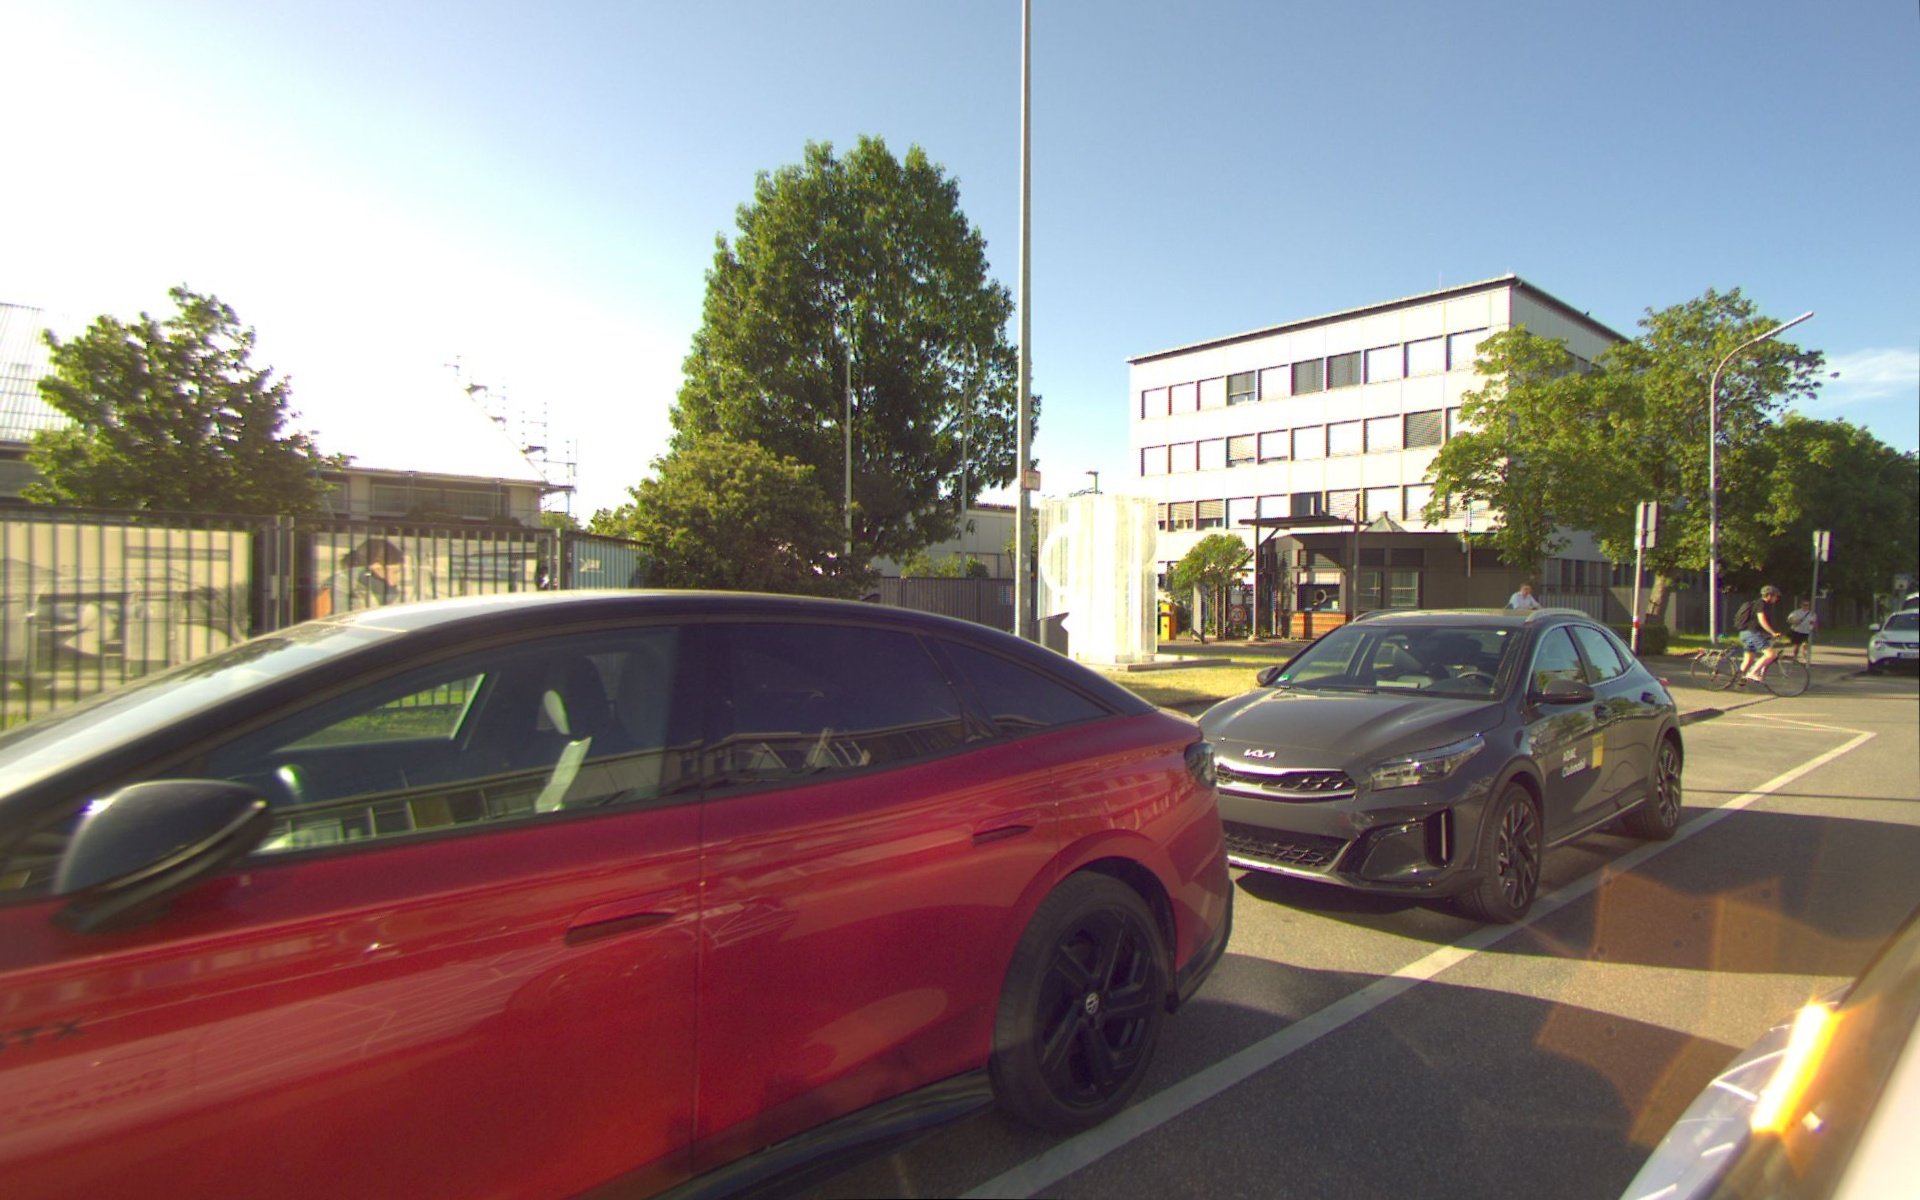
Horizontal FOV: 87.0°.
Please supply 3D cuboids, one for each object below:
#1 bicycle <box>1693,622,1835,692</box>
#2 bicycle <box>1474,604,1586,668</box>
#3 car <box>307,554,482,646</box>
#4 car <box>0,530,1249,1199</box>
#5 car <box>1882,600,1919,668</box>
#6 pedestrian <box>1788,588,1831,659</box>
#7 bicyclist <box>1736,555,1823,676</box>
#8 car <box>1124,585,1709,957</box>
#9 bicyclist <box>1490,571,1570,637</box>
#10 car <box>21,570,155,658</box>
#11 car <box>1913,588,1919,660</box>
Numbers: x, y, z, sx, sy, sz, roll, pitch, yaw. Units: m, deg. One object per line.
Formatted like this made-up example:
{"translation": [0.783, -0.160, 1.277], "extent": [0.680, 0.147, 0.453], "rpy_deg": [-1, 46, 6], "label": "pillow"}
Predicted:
{"translation": [14.333, 0.996, 18.120], "extent": [1.874, 1.021, 0.692], "rpy_deg": [5, 3, 35], "label": "bicycle"}
{"translation": [11.395, 0.695, 20.299], "extent": [0.654, 1.157, 1.906], "rpy_deg": [2, 1, -25], "label": "bicycle"}
{"translation": [-11.790, -0.026, 20.961], "extent": [4.630, 1.689, 1.968], "rpy_deg": [1, 0, 45], "label": "car"}
{"translation": [-1.375, 0.688, 2.461], "extent": [4.640, 1.530, 1.811], "rpy_deg": [0, -1, -42], "label": "car"}
{"translation": [23.304, 0.770, 23.947], "extent": [4.041, 1.533, 1.667], "rpy_deg": [0, -1, -40], "label": "car"}
{"translation": [21.520, 0.580, 25.636], "extent": [0.762, 1.750, 0.692], "rpy_deg": [1, 1, -41], "label": "pedestrian"}
{"translation": [14.497, 0.256, 17.942], "extent": [1.046, 2.039, 0.947], "rpy_deg": [3, 1, 35], "label": "bicyclist"}
{"translation": [2.980, 0.710, 6.143], "extent": [4.142, 1.506, 1.703], "rpy_deg": [0, -1, -42], "label": "car"}
{"translation": [11.430, 0.071, 20.321], "extent": [0.844, 1.284, 1.102], "rpy_deg": [1, 0, -25], "label": "bicyclist"}
{"translation": [-15.597, 0.194, 18.028], "extent": [1.647, 1.397, 3.892], "rpy_deg": [1, 0, -43], "label": "car"}
{"translation": [27.620, 0.635, 27.779], "extent": [4.939, 1.894, 1.865], "rpy_deg": [0, -1, -44], "label": "car"}
